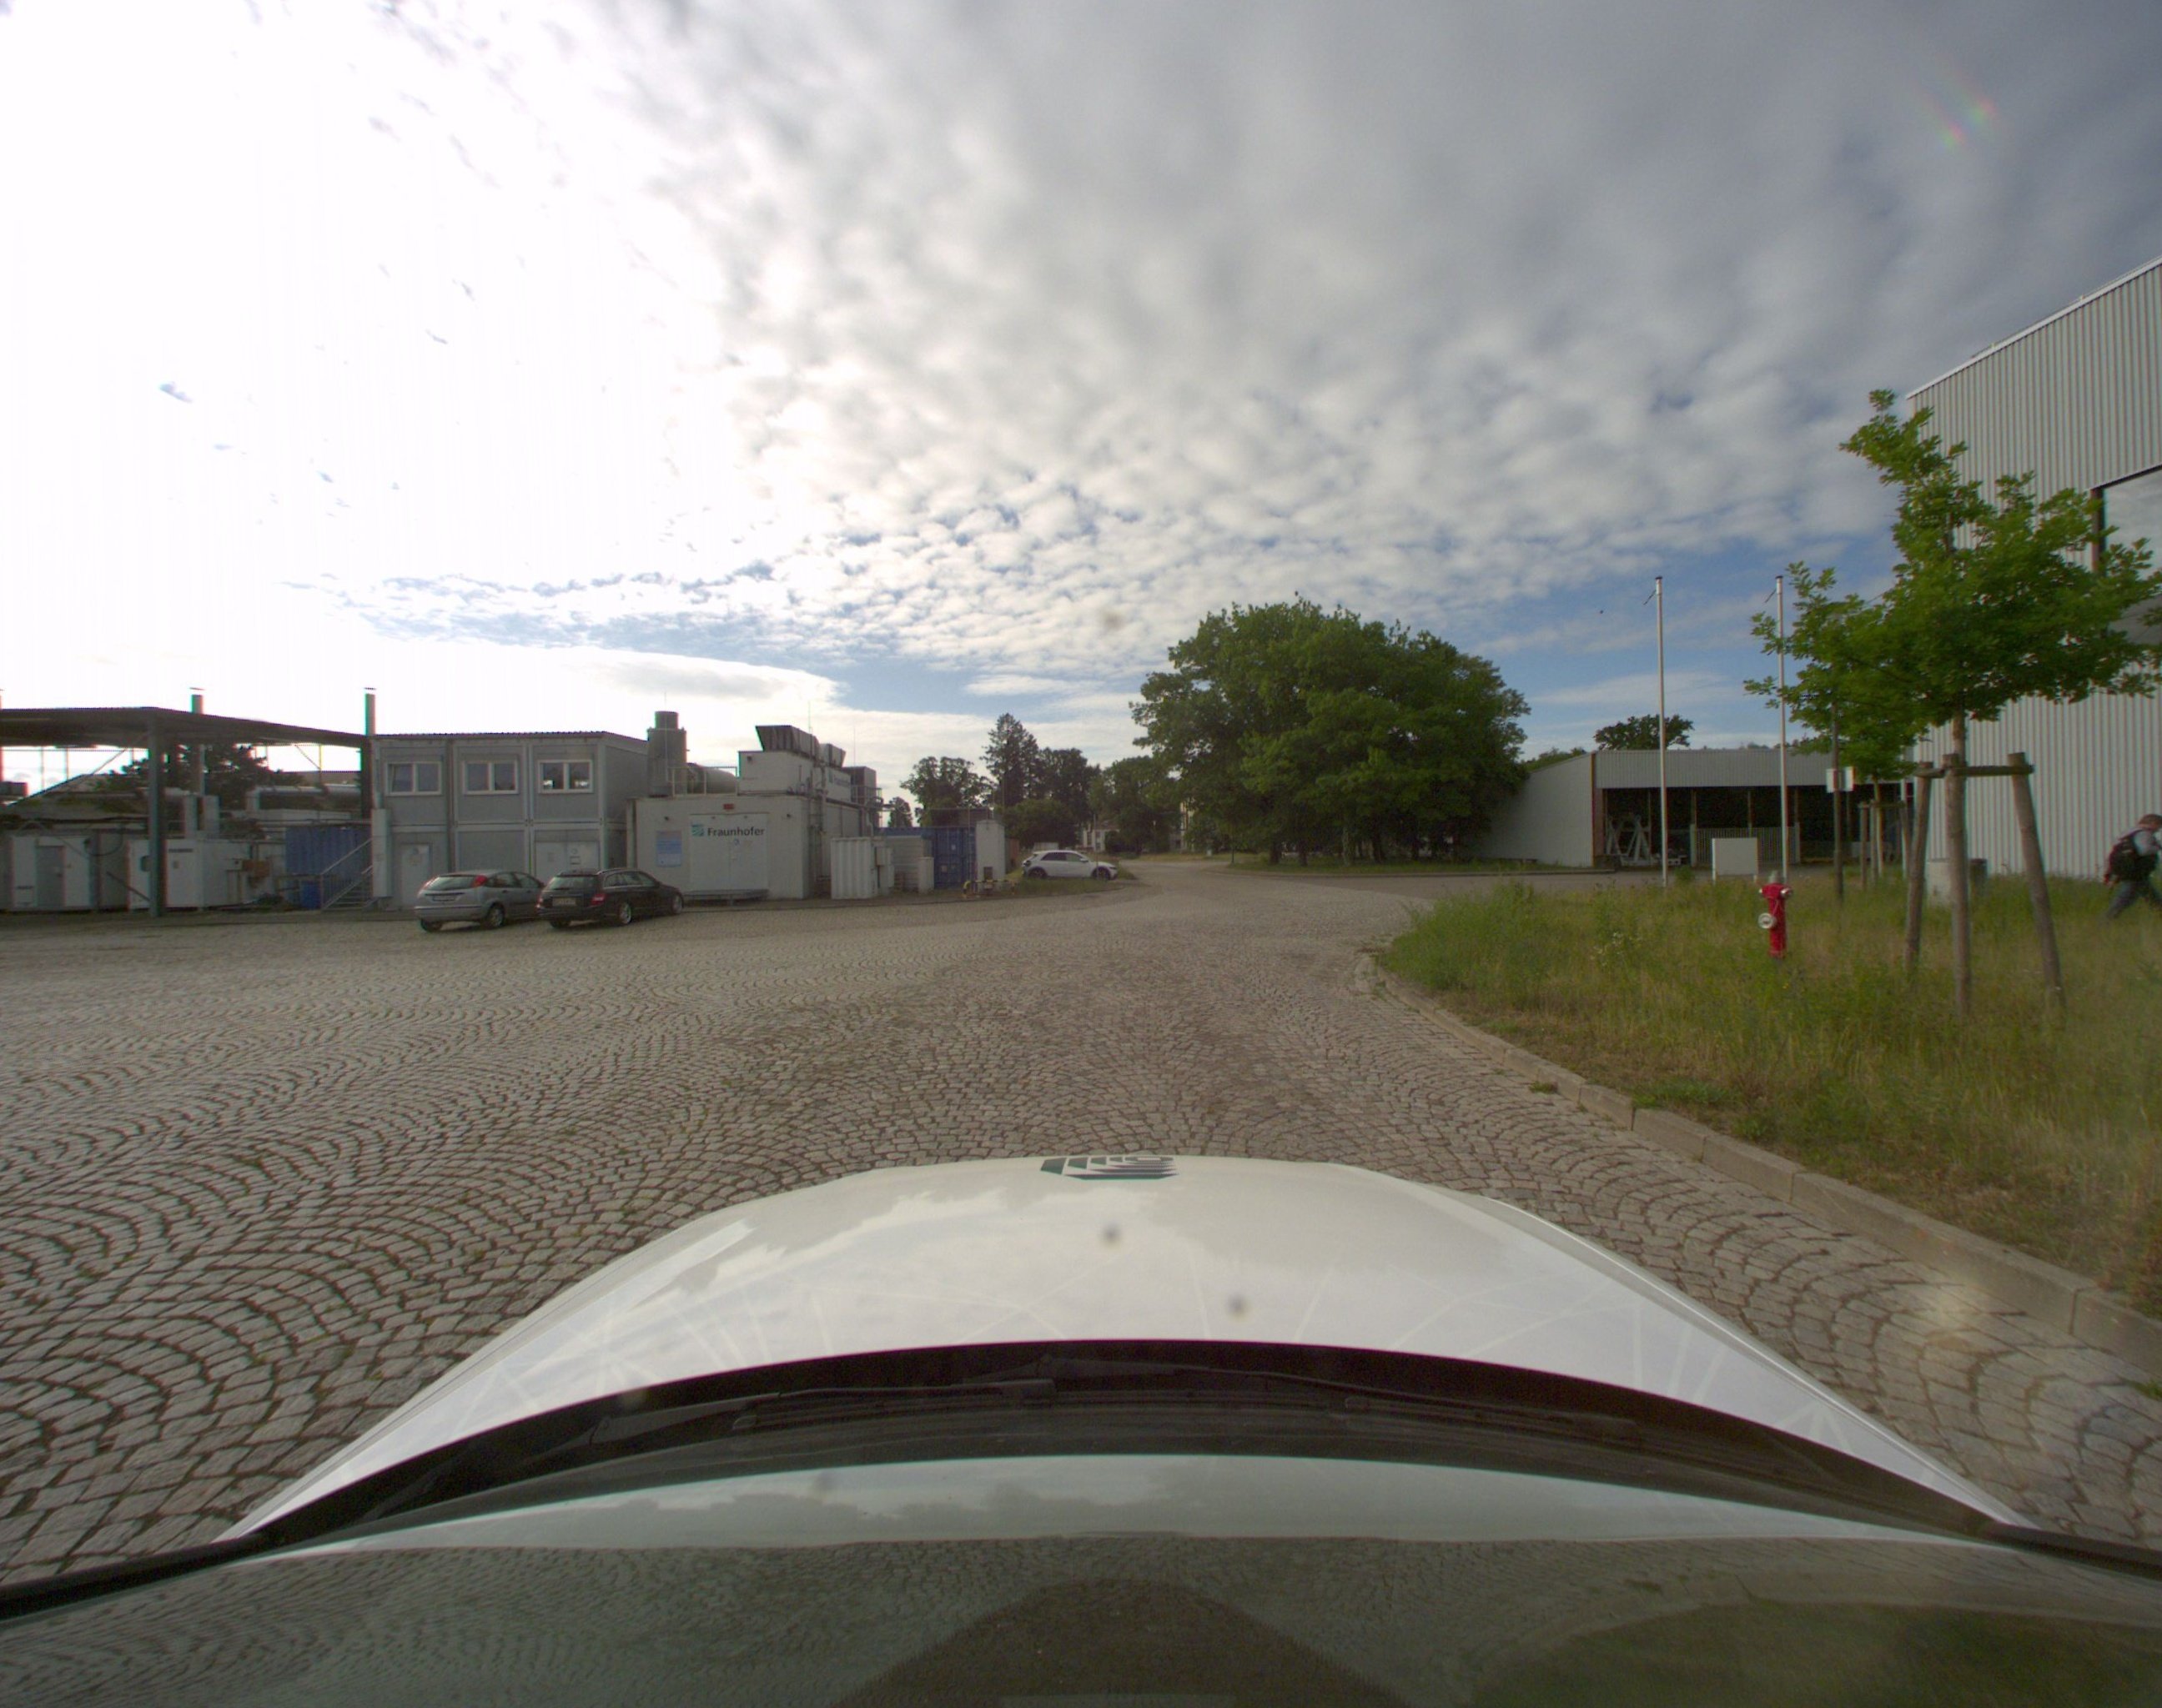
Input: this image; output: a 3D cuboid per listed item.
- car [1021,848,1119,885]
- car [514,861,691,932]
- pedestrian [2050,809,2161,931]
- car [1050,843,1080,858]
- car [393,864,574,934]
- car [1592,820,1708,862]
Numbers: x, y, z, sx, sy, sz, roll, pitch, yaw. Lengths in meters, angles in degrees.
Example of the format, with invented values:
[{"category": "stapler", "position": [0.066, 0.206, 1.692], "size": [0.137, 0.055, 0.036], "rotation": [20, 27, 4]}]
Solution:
[{"category": "car", "position": [-0.499, 0.566, 39.009], "size": [4.518, 1.599, 2.000], "rotation": [-2, 0, 1]}, {"category": "car", "position": [-12.391, 1.016, 21.530], "size": [2.031, 1.453, 4.528], "rotation": [-2, 2, -1]}, {"category": "pedestrian", "position": [14.012, 0.195, 10.813], "size": [1.066, 1.556, 1.081], "rotation": [-2, 0, 22]}, {"category": "car", "position": [-2.759, -0.587, 140.520], "size": [5.157, 2.337, 1.998], "rotation": [-2, 0, -2]}, {"category": "car", "position": [-15.617, 1.106, 21.591], "size": [1.902, 1.475, 4.042], "rotation": [-1, 1, -3]}, {"category": "car", "position": [29.787, -0.661, 42.892], "size": [2.236, 2.013, 5.331], "rotation": [-2, 0, -3]}]
